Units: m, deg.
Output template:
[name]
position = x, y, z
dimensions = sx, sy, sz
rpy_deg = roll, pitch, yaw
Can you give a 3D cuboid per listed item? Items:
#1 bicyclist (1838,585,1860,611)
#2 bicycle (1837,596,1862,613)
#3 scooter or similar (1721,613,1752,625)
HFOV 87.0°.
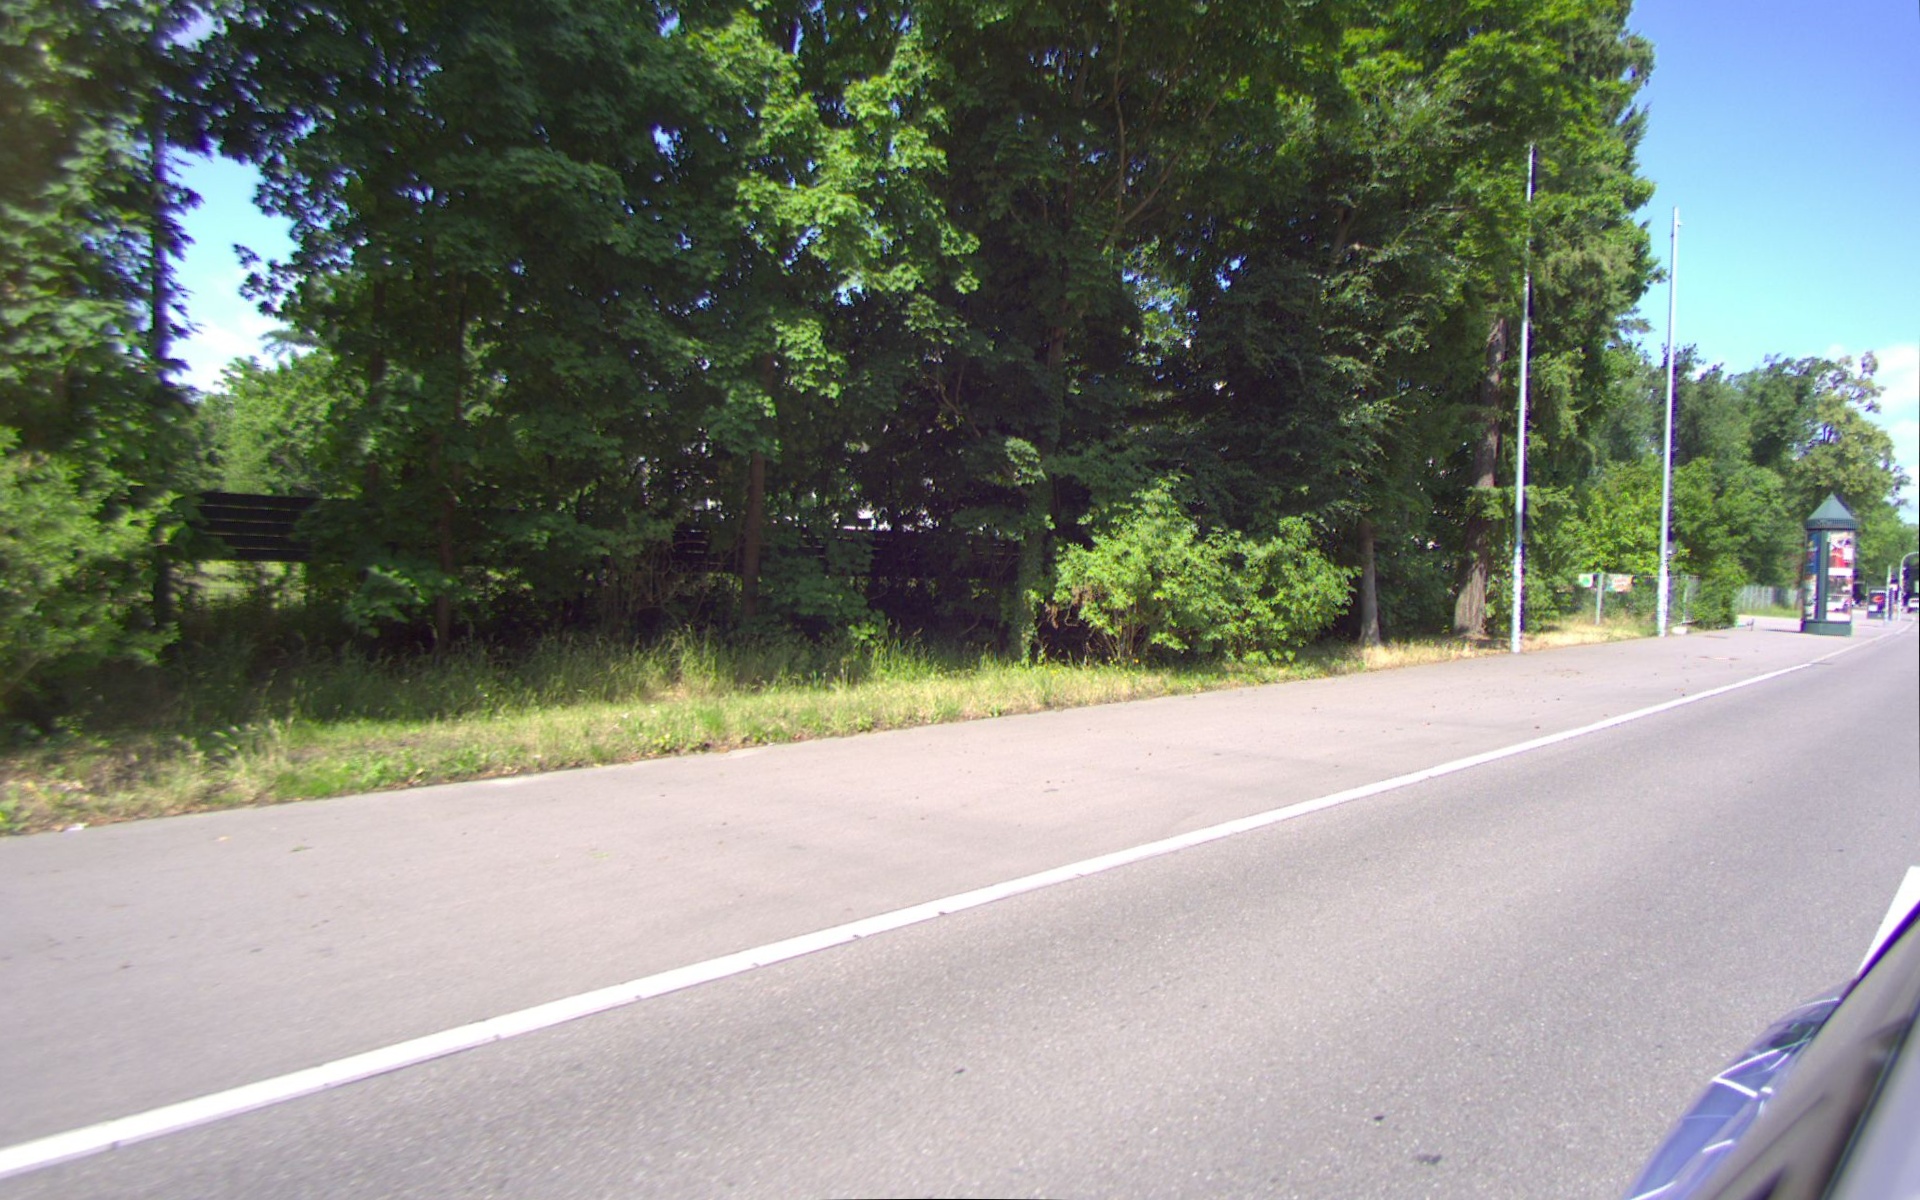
[bicyclist]
position = 63.174, -0.132, 71.902
dimensions = 0.959, 1.820, 0.888
rpy_deg = 0, 0, -31
[bicycle]
position = 63.257, 0.312, 71.968
dimensions = 1.860, 1.221, 0.884
rpy_deg = 0, 1, -33
[scooter or similar]
position = 31.821, 0.767, 41.455
dimensions = 0.853, 0.393, 1.451
rpy_deg = 4, 4, 43
